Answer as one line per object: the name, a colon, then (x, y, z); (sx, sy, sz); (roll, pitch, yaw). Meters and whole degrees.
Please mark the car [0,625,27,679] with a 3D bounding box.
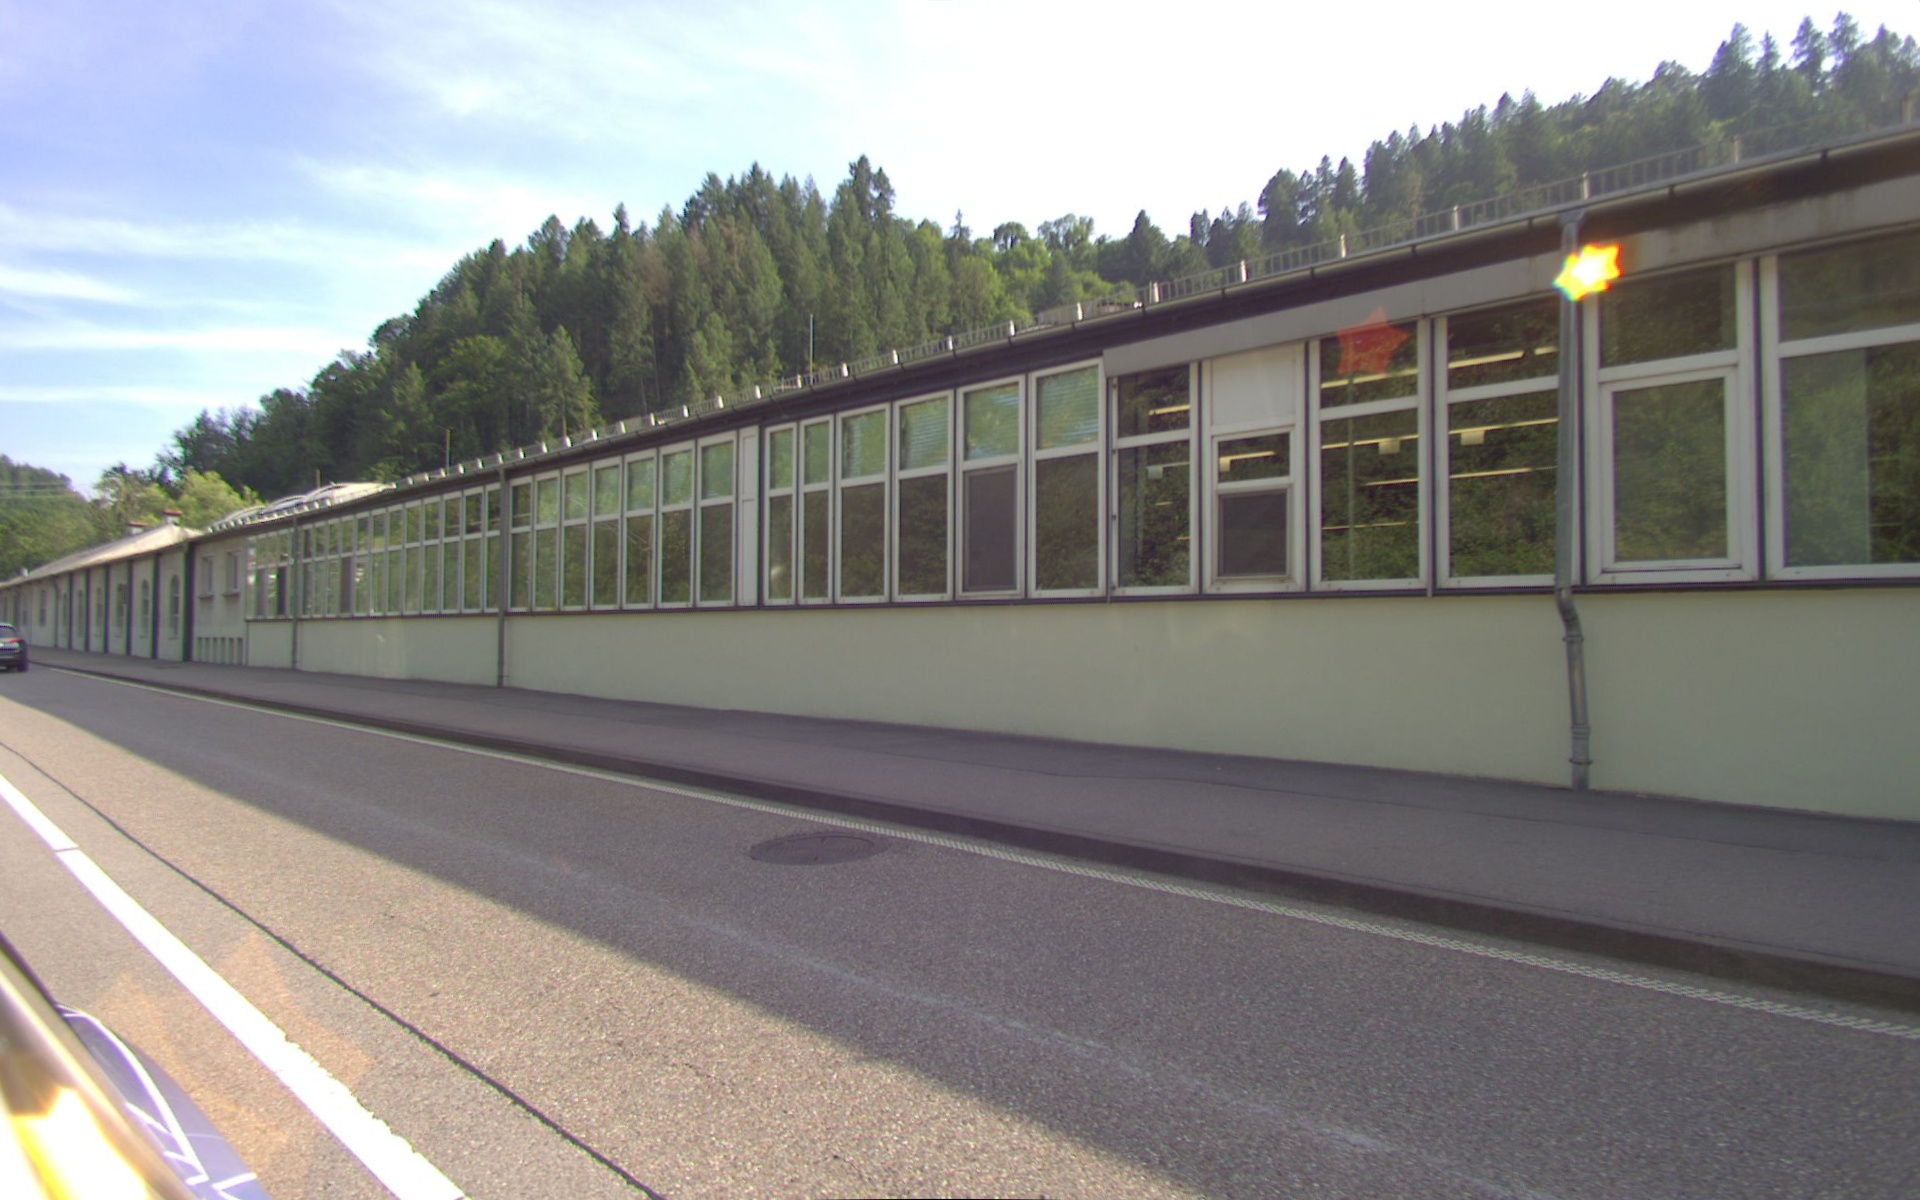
car: (-28.974, 1.524, 29.832); (4.050, 1.502, 1.755); (-2, -1, 41)
